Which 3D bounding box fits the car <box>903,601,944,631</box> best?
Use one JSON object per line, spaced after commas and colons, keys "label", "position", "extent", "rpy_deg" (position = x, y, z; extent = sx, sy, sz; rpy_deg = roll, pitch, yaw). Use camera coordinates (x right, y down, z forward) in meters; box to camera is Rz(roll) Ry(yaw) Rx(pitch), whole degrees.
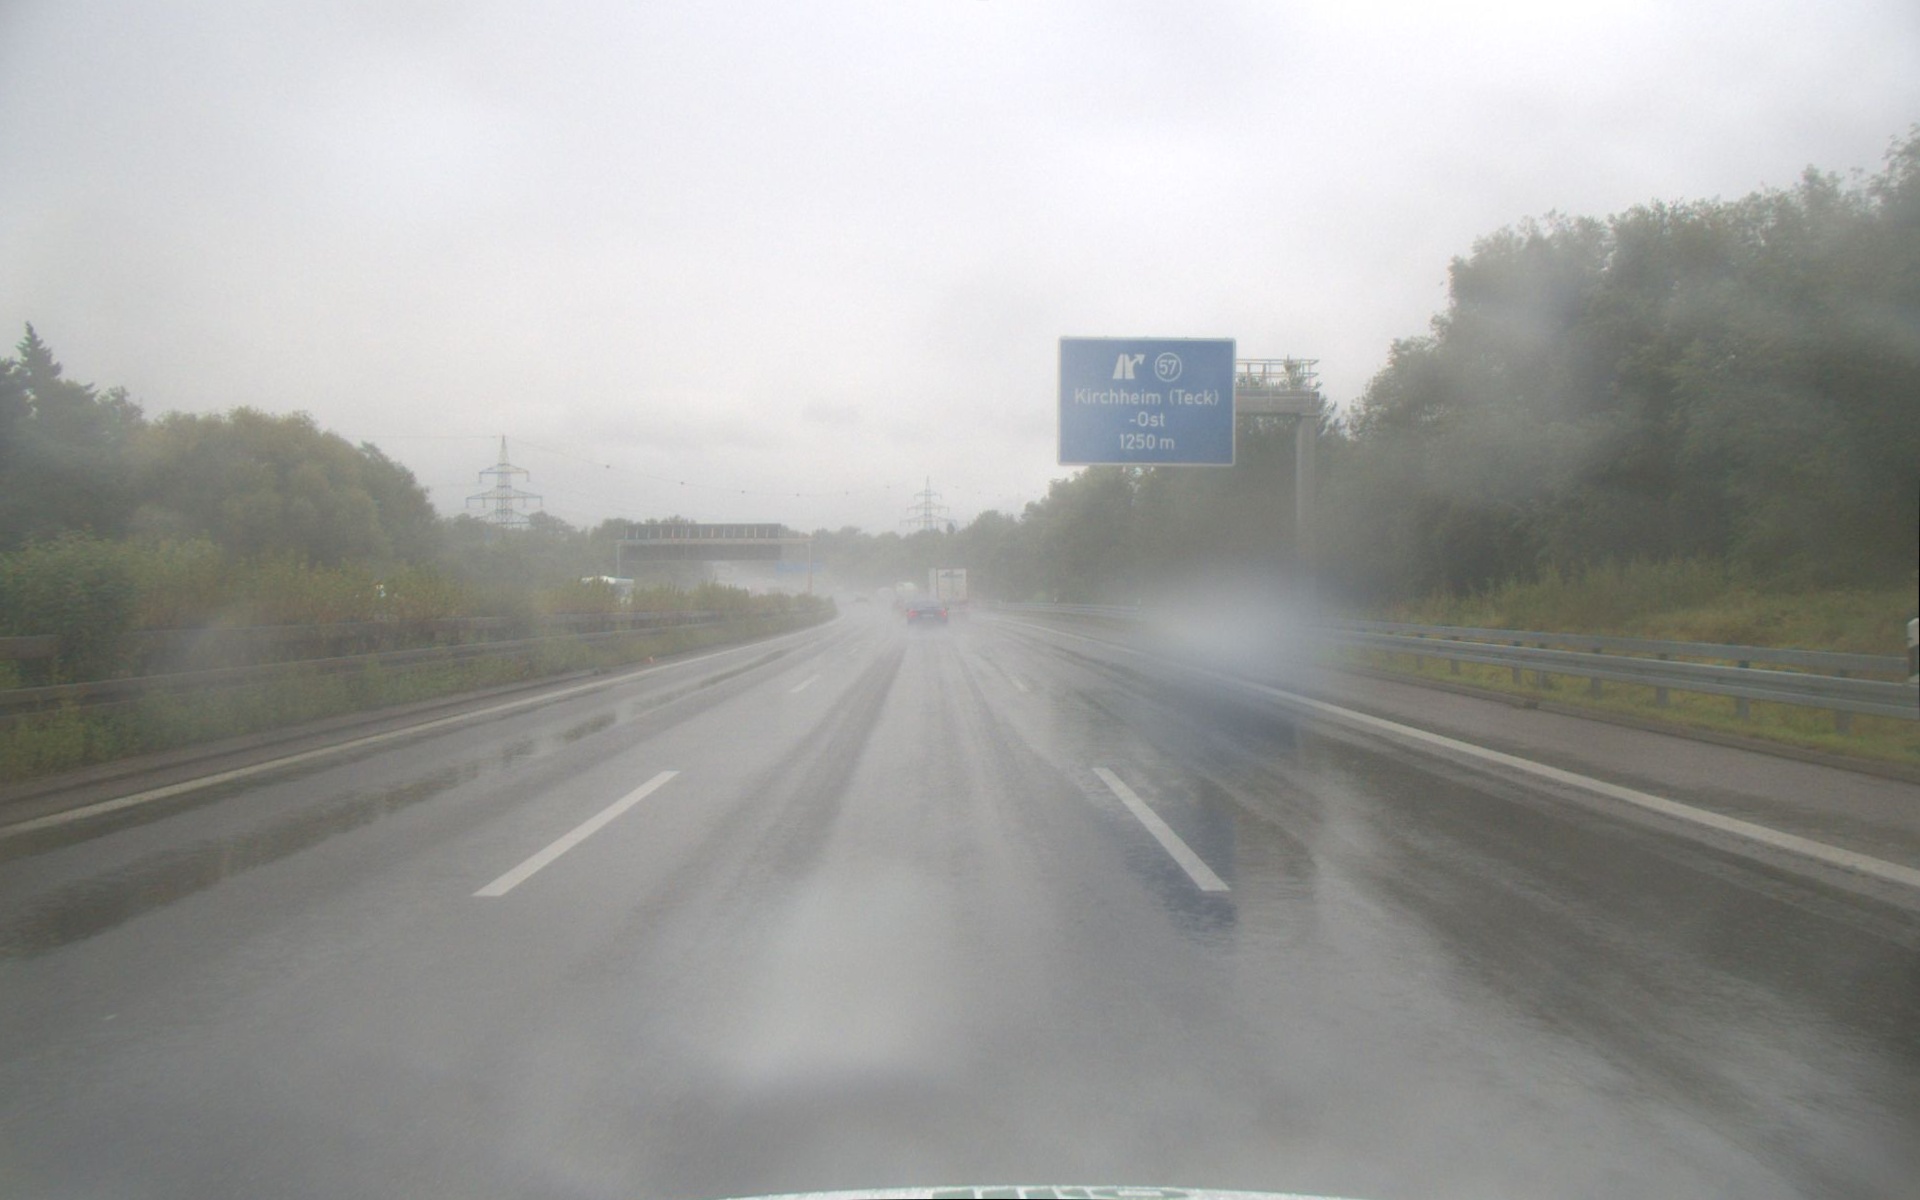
{"label": "car", "position": [-1.591, 0.662, 71.787], "extent": [1.713, 1.233, 3.999], "rpy_deg": [1, 0, -2]}

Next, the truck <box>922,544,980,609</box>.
{"label": "truck", "position": [-0.961, -2.014, 142.072], "extent": [4.172, 5.058, 17.333], "rpy_deg": [-3, 1, -2]}
